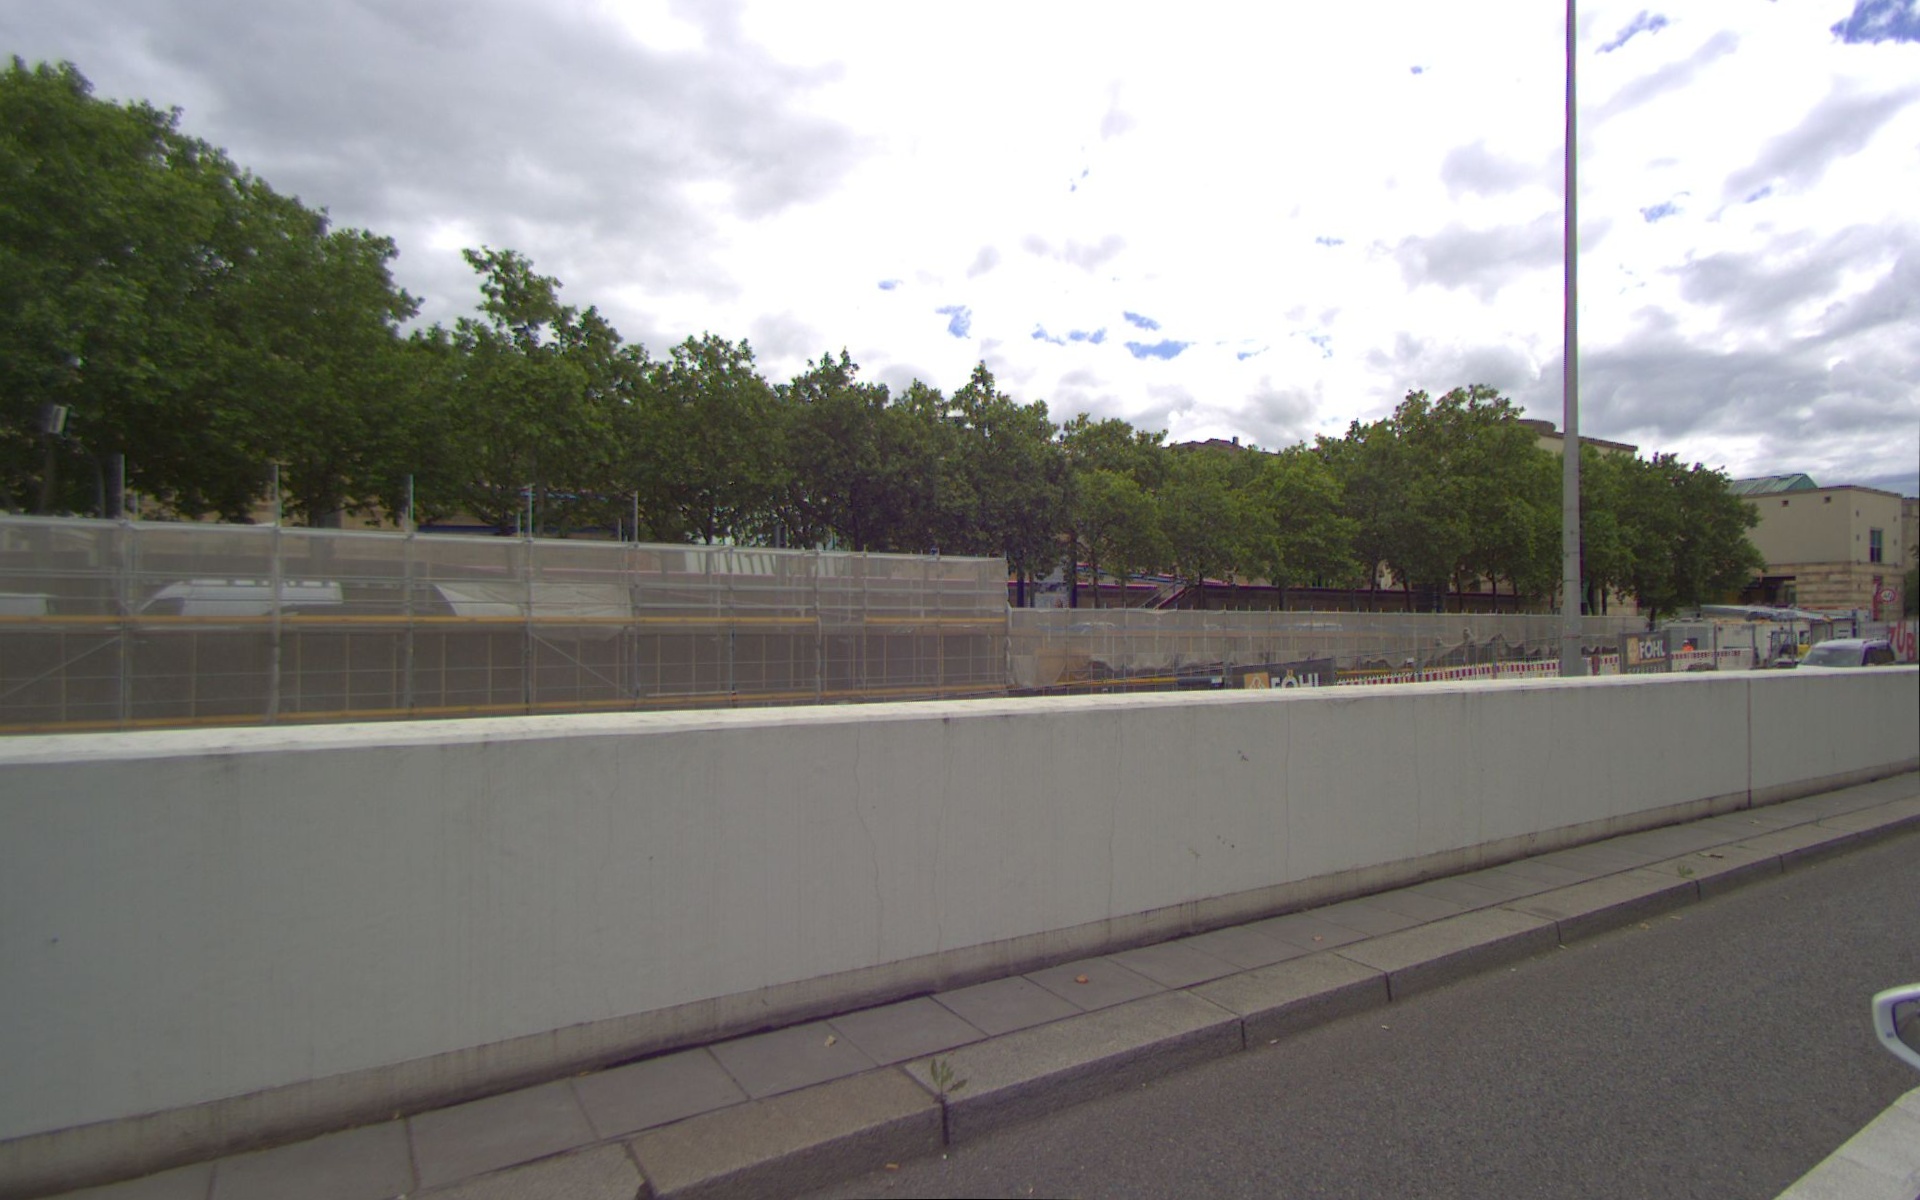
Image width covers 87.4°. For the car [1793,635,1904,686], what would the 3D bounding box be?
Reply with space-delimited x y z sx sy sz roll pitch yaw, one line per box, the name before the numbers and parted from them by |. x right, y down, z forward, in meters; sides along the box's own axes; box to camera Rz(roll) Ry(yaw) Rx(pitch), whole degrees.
car | 28.861 1.961 32.629 3.339 1.588 1.742 1 -4 -32

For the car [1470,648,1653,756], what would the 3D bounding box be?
car | 13.565 2.193 22.619 3.957 2.040 1.982 -1 -1 -33
